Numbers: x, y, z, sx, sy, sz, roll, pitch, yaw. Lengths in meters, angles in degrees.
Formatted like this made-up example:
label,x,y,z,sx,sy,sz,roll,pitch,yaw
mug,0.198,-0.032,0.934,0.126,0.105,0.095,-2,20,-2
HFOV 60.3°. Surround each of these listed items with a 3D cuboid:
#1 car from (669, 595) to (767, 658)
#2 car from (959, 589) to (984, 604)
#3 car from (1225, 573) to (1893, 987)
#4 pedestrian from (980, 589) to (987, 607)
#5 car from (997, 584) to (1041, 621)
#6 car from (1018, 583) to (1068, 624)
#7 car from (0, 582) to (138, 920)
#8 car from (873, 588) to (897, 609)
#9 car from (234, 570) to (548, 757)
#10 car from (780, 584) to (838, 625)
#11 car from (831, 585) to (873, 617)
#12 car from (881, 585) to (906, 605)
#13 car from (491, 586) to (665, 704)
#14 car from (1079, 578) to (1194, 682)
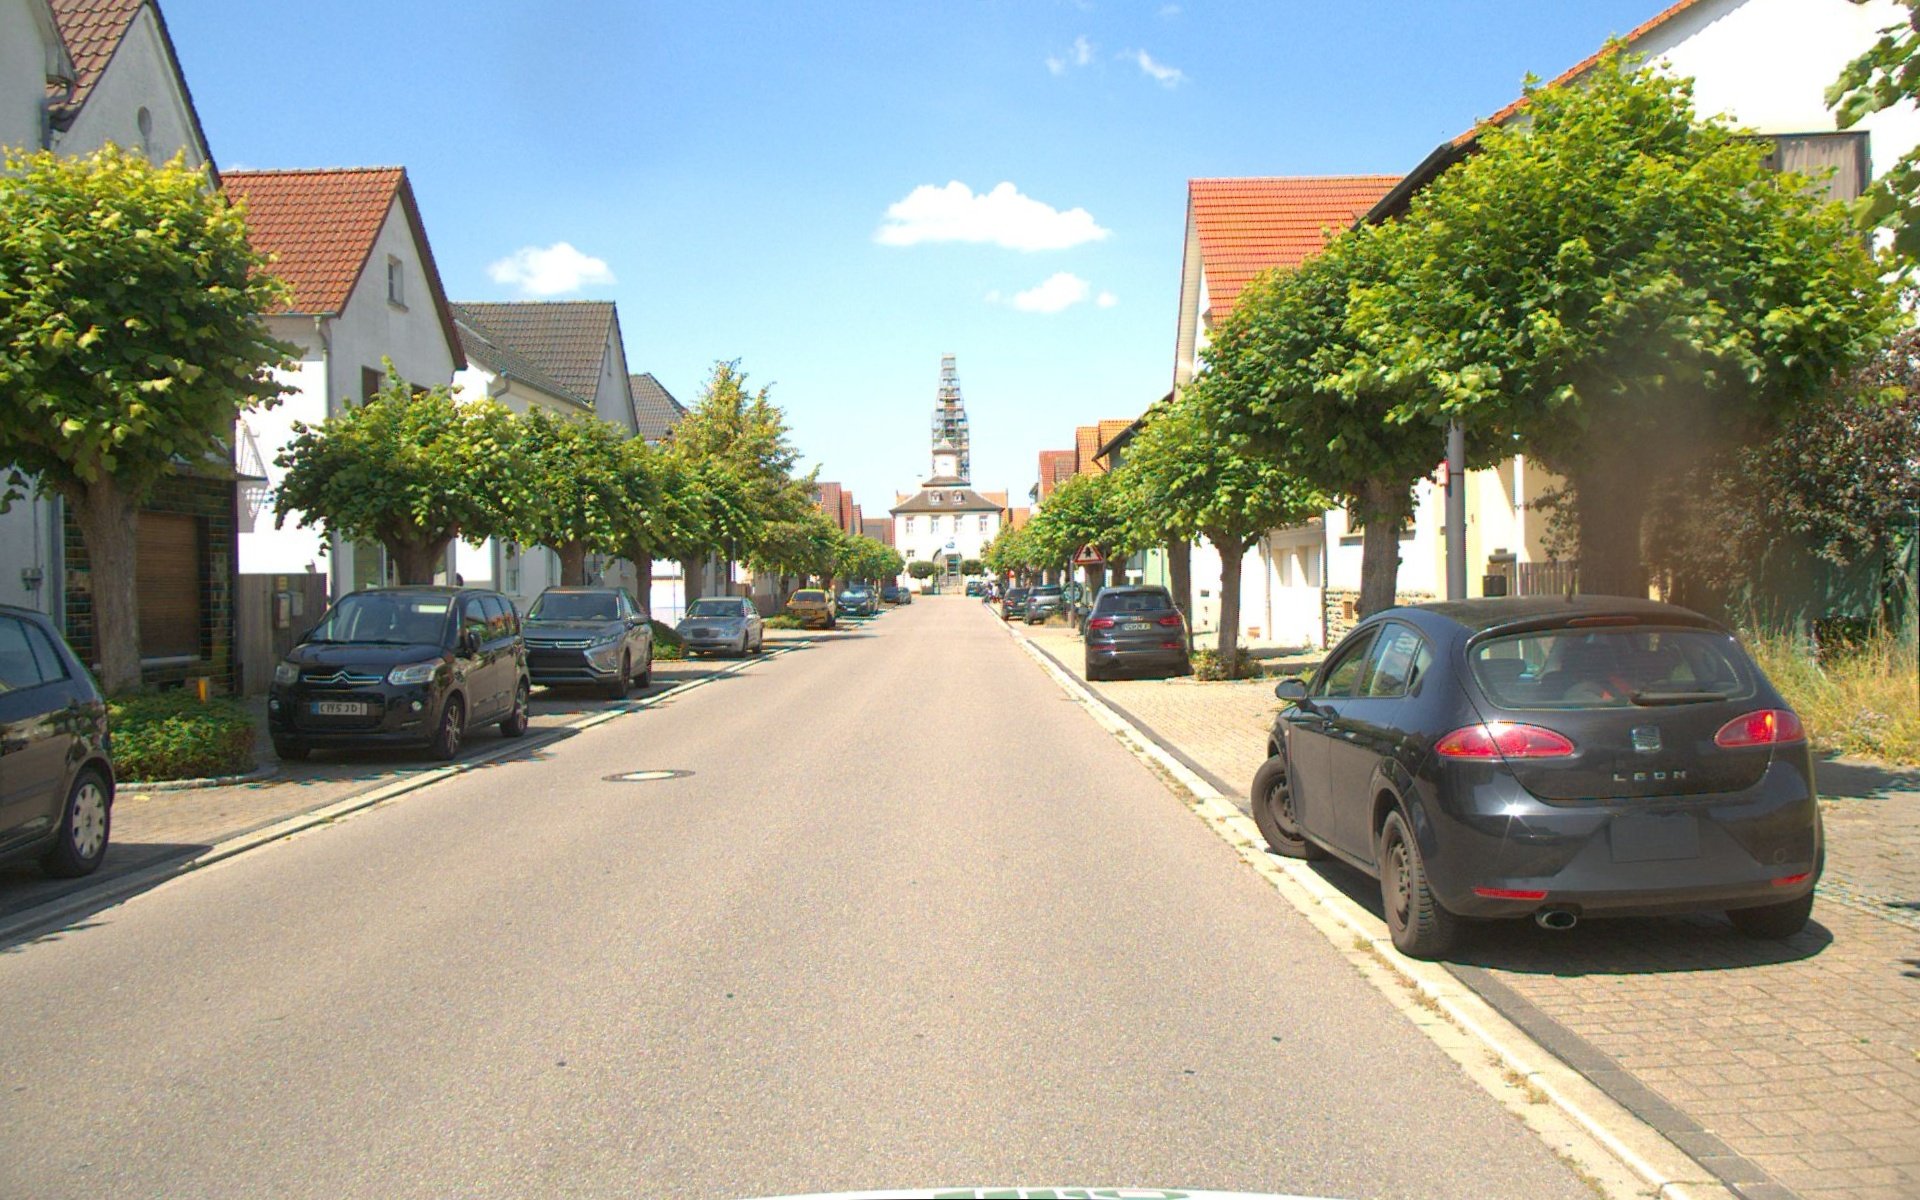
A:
label,x,y,z,sx,sy,sz,roll,pitch,yaw
car,-5.835,0.606,40.334,1.803,1.420,4.406,0,0,-1
car,1.229,-0.373,174.854,1.693,1.574,3.457,1,0,16
car,2.586,0.654,8.260,1.787,1.457,4.056,-3,1,0
pedestrian,1.816,-0.163,126.974,0.352,1.427,0.319,-1,0,37
car,2.720,0.096,77.498,1.800,1.582,4.313,-3,0,-1
car,3.493,0.132,69.912,1.800,1.636,3.999,-1,0,-2
car,-5.563,0.744,7.739,1.751,1.662,3.995,0,0,-6
car,-6.102,-0.145,134.599,1.721,1.582,4.020,-1,0,0
car,-5.650,0.578,16.992,1.815,1.664,4.056,1,0,0
car,-6.346,0.177,69.843,1.952,1.639,4.689,0,0,1
car,-5.929,0.040,91.512,1.952,1.639,4.690,0,1,1
car,-5.620,-0.442,140.344,1.952,1.639,3.855,0,0,1
car,-5.876,0.635,25.936,1.954,1.681,4.364,0,0,-4
car,3.061,0.470,29.358,1.786,1.613,4.059,-3,1,4
